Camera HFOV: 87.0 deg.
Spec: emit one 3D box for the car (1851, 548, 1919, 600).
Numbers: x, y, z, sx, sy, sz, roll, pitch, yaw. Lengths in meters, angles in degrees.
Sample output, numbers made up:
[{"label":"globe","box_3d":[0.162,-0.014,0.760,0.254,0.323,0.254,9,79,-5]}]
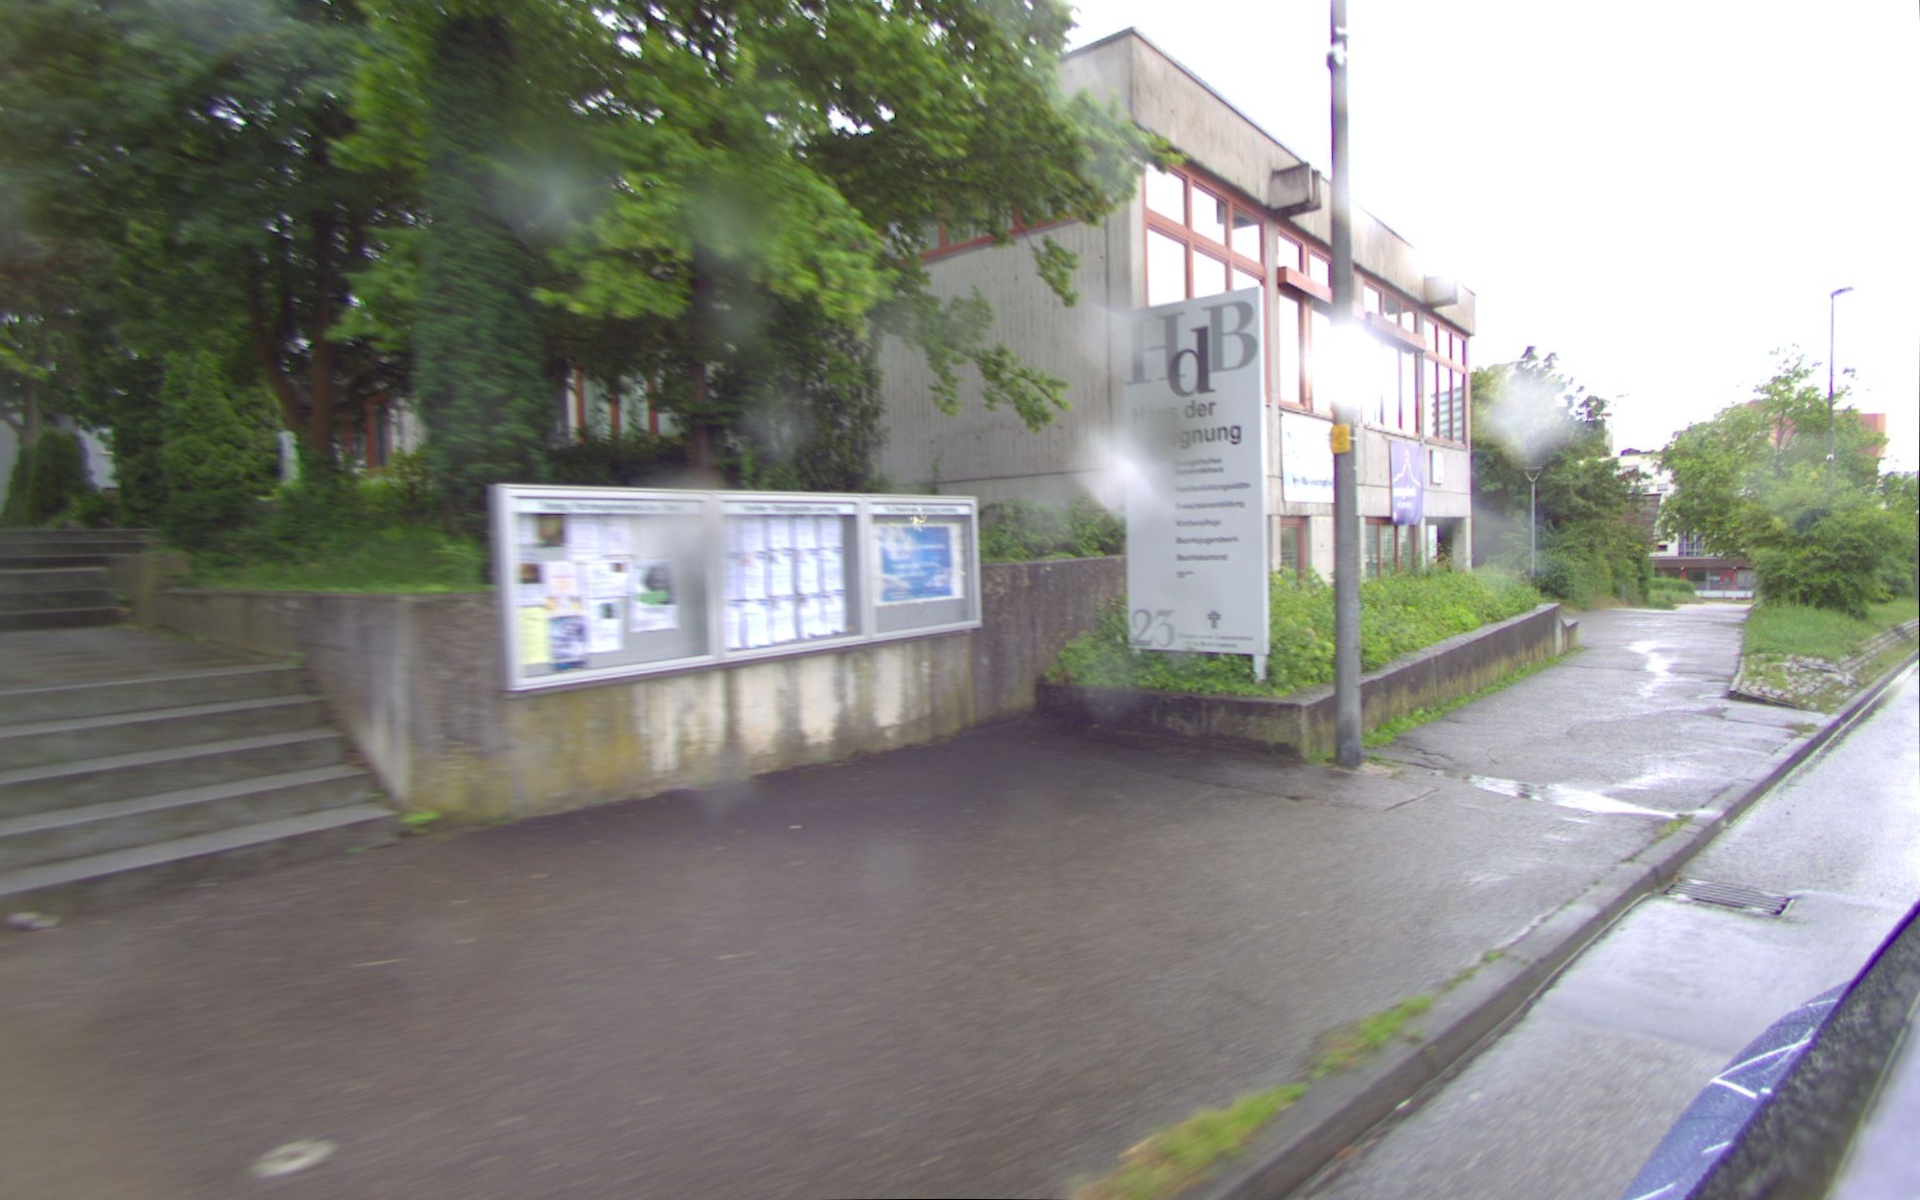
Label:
[{"label":"car","box_3d":[35.153,-0.956,38.036,3.900,1.843,2.046,-2,1,-41]}]
